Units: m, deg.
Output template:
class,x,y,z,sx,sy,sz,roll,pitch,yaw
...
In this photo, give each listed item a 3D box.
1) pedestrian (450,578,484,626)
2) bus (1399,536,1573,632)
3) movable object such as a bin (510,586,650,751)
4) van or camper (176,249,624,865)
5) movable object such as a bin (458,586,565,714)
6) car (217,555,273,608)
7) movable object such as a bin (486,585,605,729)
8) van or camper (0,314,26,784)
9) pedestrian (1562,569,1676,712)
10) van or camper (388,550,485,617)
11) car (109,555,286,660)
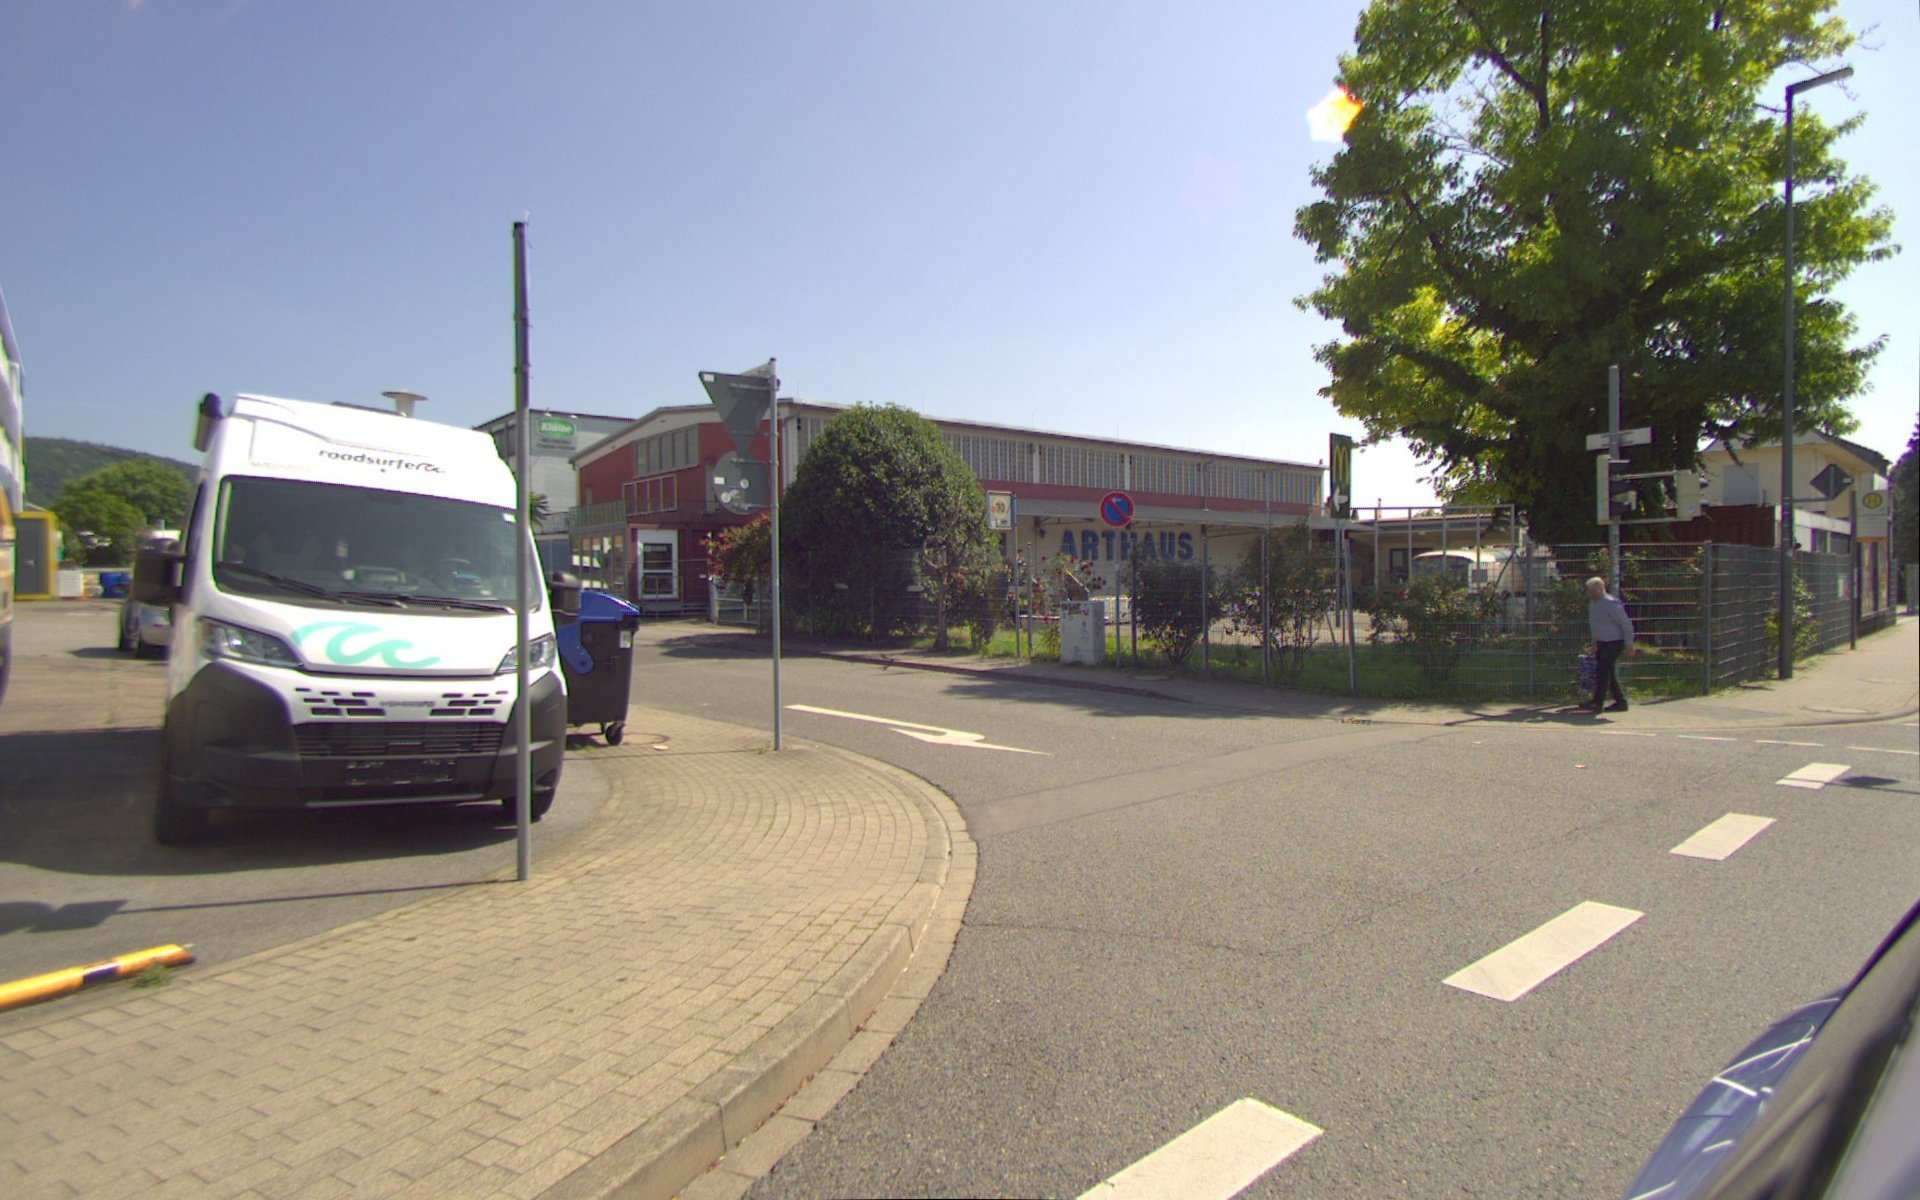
class,x,y,z,sx,sy,sz,roll,pitch,yaw
pedestrian,-16.971,0.059,34.838,0.868,1.599,0.788,-1,1,-41
bus,20.508,-0.793,39.071,10.096,3.210,2.569,-4,3,-42
movable object such as a bin,-3.728,0.621,9.876,1.057,1.475,1.258,2,-1,-30
van or camper,-4.466,-0.197,7.488,2.010,2.850,5.520,2,-1,-38
movable object such as a bin,-5.638,0.590,12.694,1.000,1.494,1.240,2,0,-34
car,-36.738,-0.940,51.935,2.073,2.558,5.602,-1,1,-38
movable object such as a bin,-4.604,0.590,11.195,0.999,1.475,1.291,1,0,-31
van or camper,-5.709,-0.253,4.377,2.053,2.808,5.824,0,1,-39
pedestrian,8.188,0.475,12.618,0.871,1.720,0.815,0,1,3
van or camper,-23.171,-0.710,44.617,2.305,2.713,6.732,-1,1,-41
car,-12.708,0.107,16.776,1.787,1.535,3.885,3,-1,-45
